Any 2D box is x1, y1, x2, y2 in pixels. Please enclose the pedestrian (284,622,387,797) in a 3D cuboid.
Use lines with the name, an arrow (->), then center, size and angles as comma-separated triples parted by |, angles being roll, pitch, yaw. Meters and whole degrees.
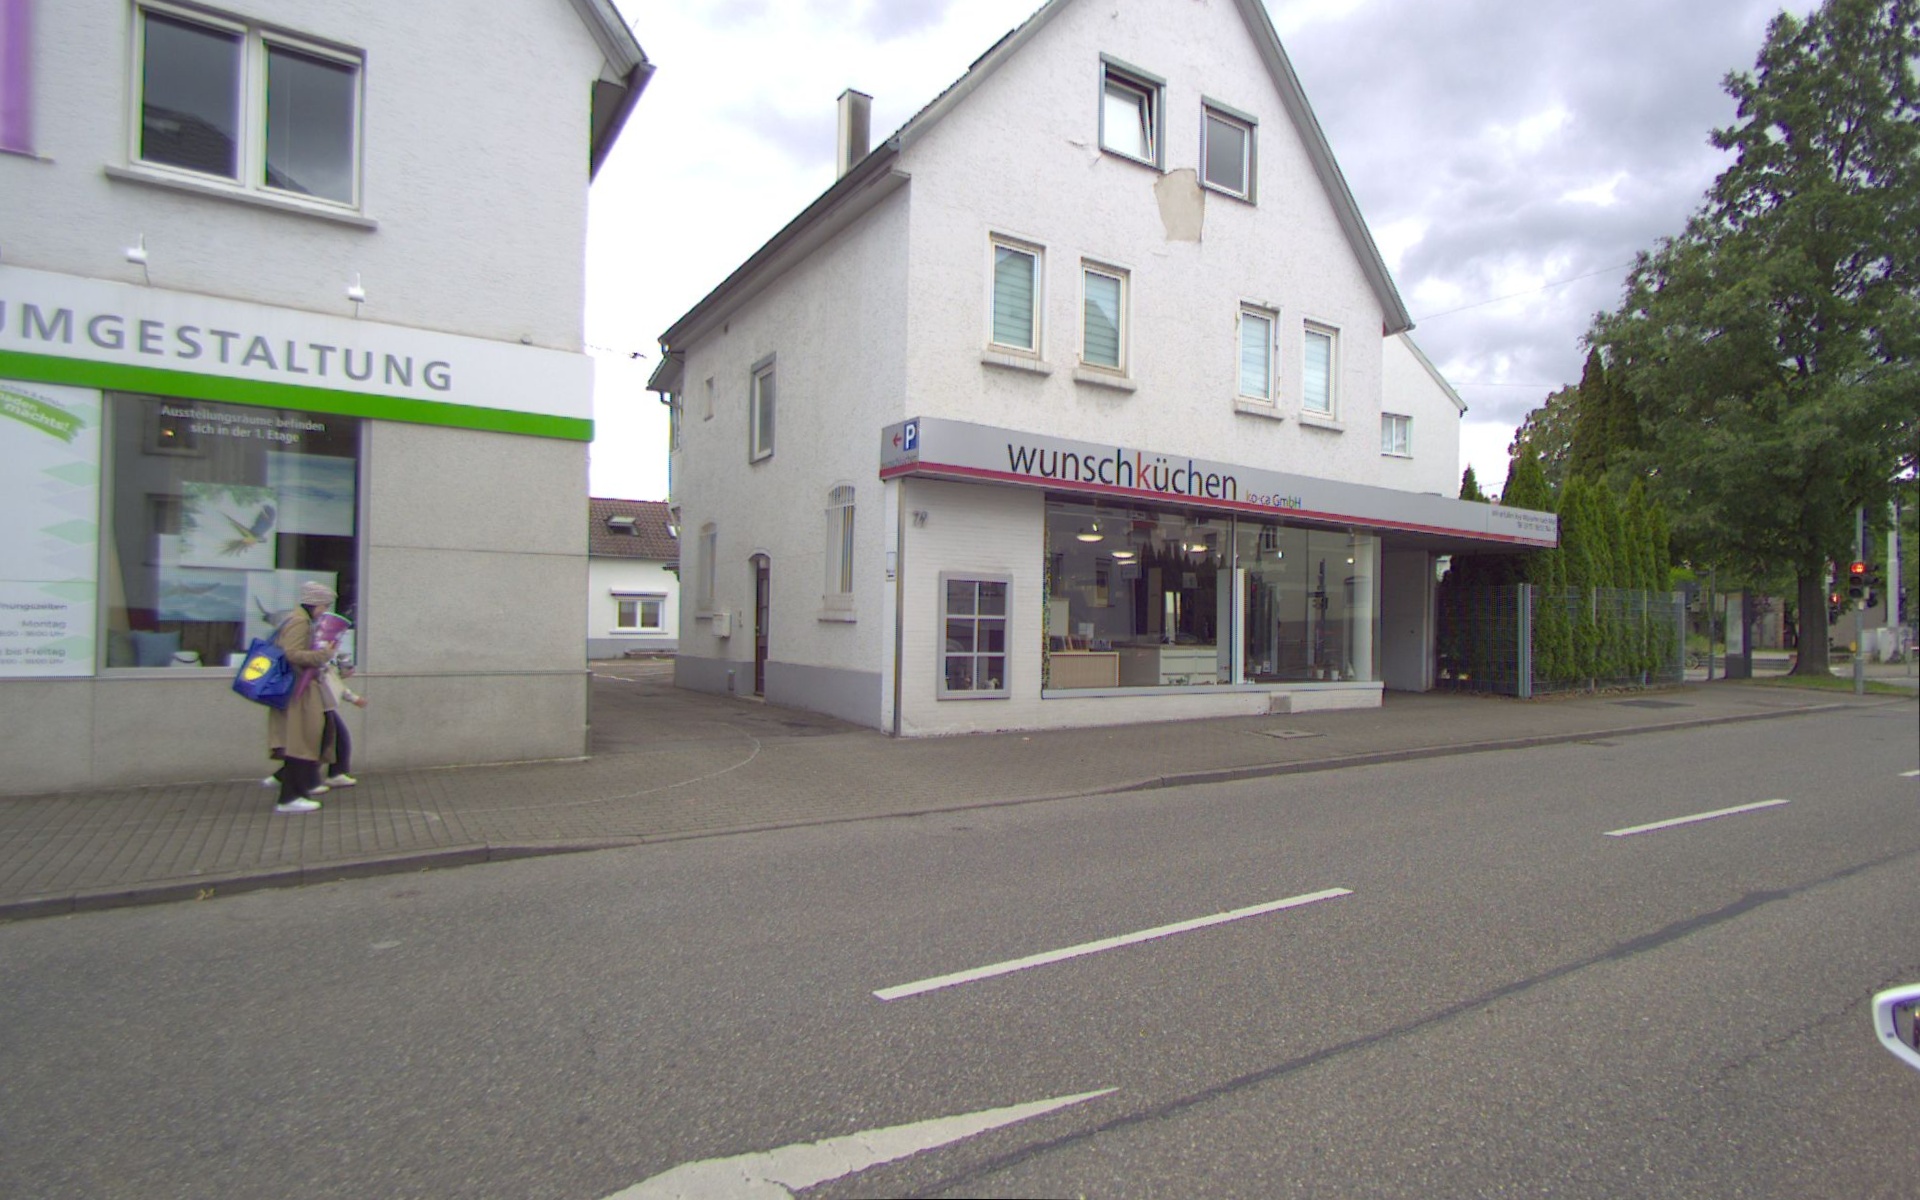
pedestrian -> -4.957, 0.837, 8.002 | 0.647, 1.297, 0.596 | 1, 1, -31

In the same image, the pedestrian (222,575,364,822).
pedestrian -> -4.776, 0.666, 7.246 | 0.784, 1.638, 0.747 | 1, 3, -31

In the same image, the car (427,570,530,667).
car -> -14.475, 0.512, 29.985 | 1.939, 2.541, 5.942 | 4, -2, -32
